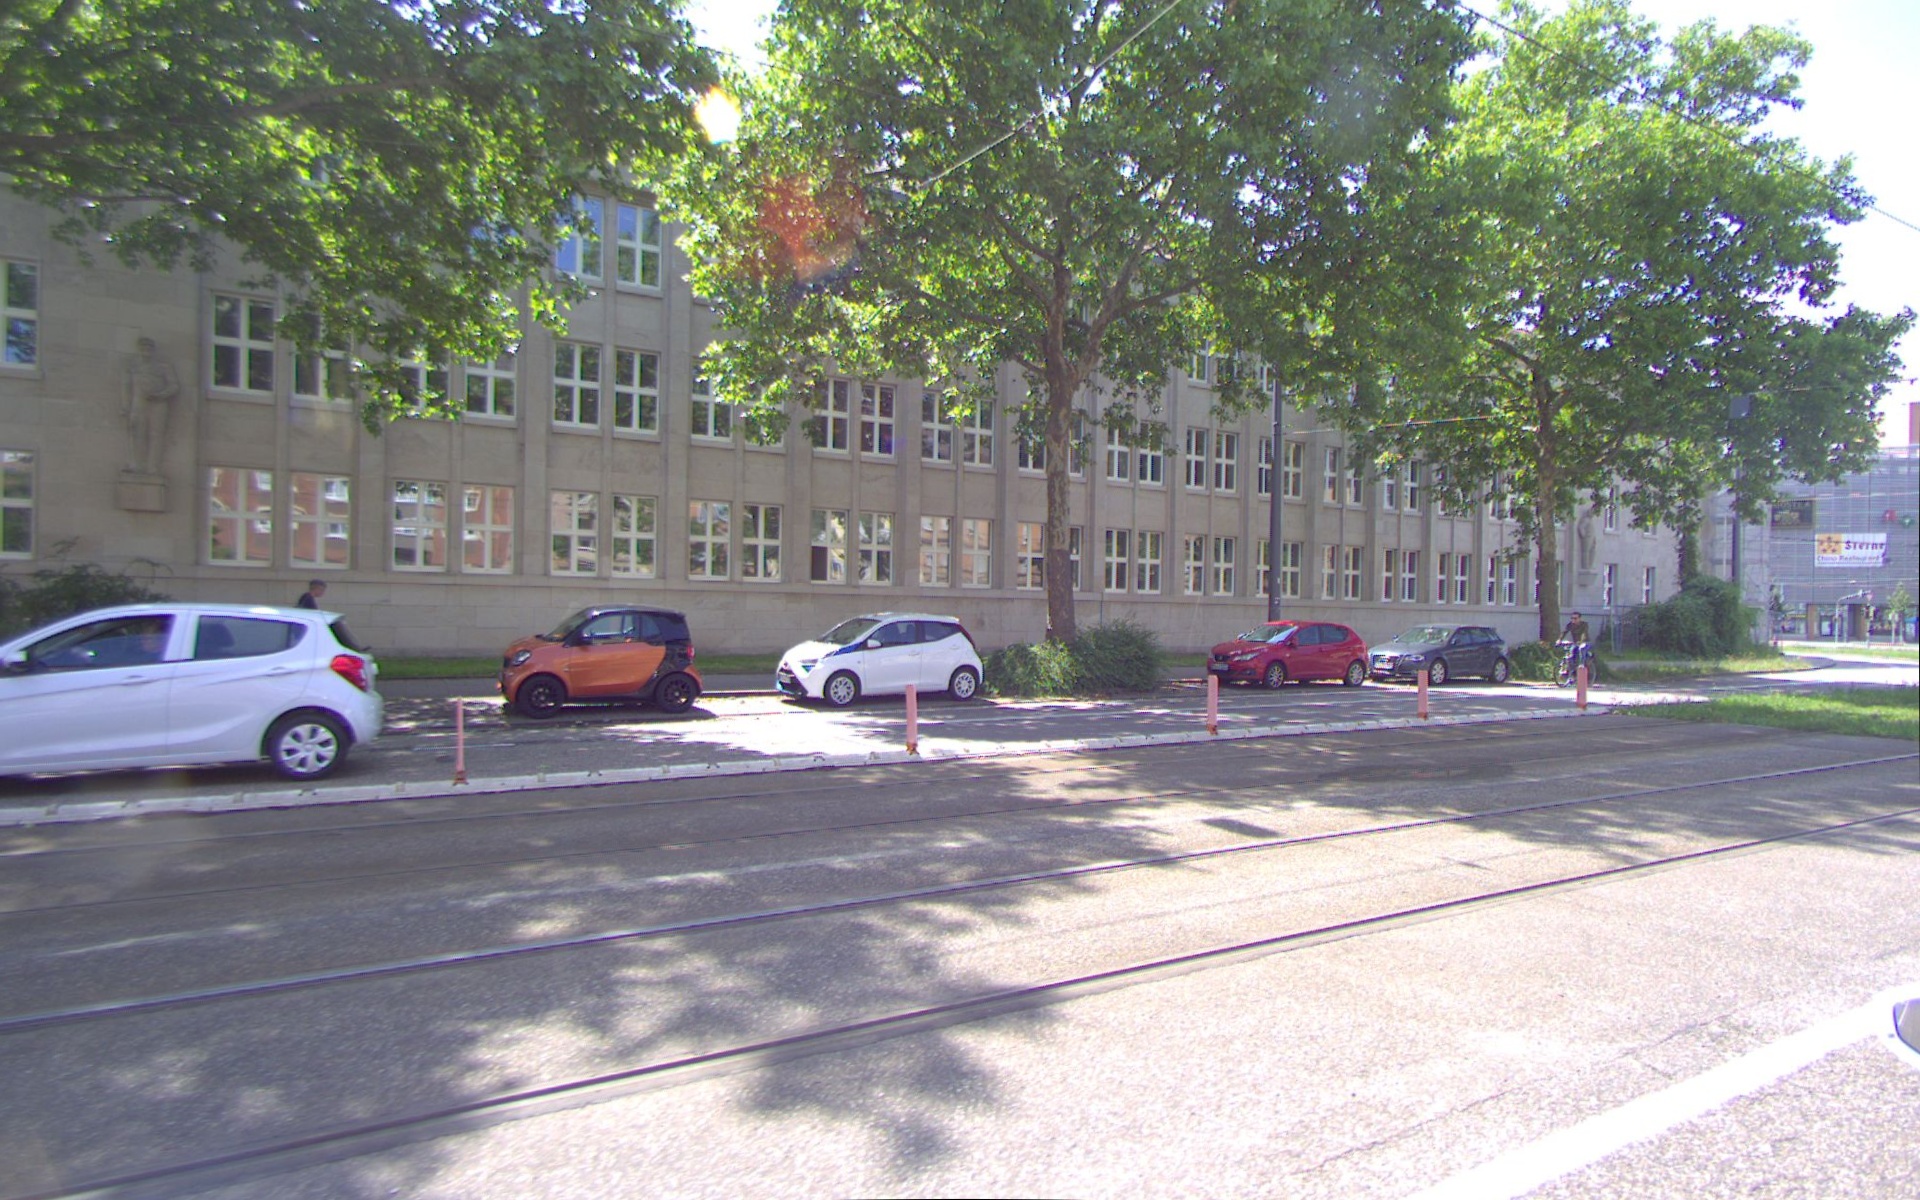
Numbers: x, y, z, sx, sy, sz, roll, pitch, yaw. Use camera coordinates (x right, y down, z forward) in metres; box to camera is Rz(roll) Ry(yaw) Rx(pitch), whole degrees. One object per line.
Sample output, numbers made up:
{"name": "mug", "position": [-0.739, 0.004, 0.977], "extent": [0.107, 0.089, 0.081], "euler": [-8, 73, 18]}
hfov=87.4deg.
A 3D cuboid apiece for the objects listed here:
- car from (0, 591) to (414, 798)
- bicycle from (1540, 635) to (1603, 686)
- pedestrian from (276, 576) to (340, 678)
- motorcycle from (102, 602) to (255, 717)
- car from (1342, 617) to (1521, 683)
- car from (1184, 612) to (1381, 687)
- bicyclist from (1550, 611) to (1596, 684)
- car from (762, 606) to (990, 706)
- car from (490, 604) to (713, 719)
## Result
{"name": "car", "position": [-6.752, 0.728, 8.455], "extent": [3.743, 1.499, 1.752], "euler": [1, -2, -31]}
{"name": "bicycle", "position": [14.891, 1.447, 24.436], "extent": [0.782, 1.125, 2.263], "euler": [3, 0, 44]}
{"name": "pedestrian", "position": [-10.543, 0.437, 16.260], "extent": [0.786, 1.612, 0.551], "euler": [2, 1, -30]}
{"name": "motorcycle", "position": [-9.738, 0.708, 12.507], "extent": [2.067, 1.192, 0.544], "euler": [4, 5, 23]}
{"name": "car", "position": [11.564, 1.180, 24.579], "extent": [4.268, 1.387, 1.916], "euler": [1, 1, -31]}
{"name": "car", "position": [7.147, 1.053, 22.243], "extent": [4.001, 1.439, 1.917], "euler": [1, 1, -29]}
{"name": "bicyclist", "position": [14.928, 1.147, 24.473], "extent": [0.753, 1.727, 0.779], "euler": [3, 1, 44]}
{"name": "car", "position": [-1.418, 0.907, 17.153], "extent": [3.452, 1.473, 1.737], "euler": [1, 1, -31]}
{"name": "car", "position": [-5.267, 0.850, 14.794], "extent": [2.850, 1.473, 1.479], "euler": [1, 1, -31]}
